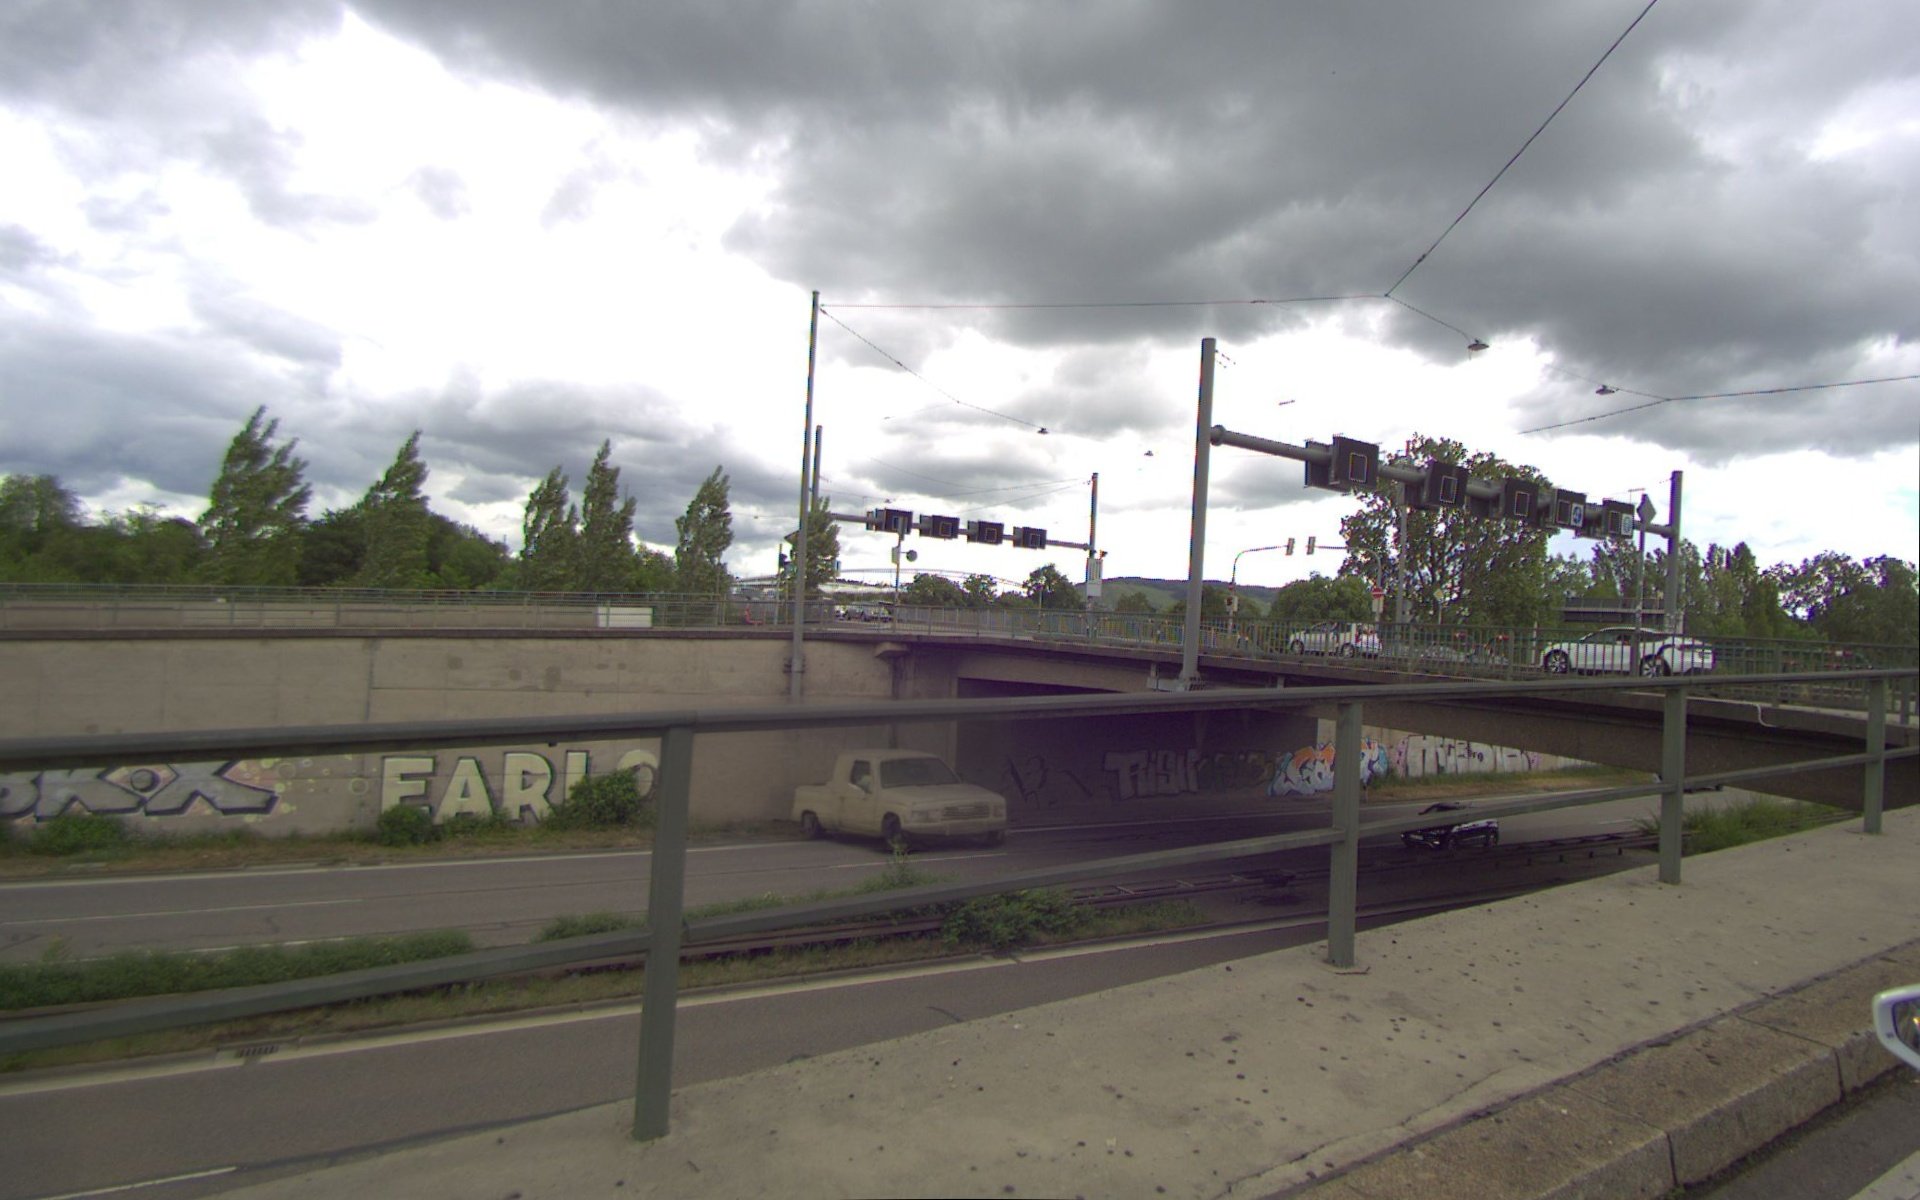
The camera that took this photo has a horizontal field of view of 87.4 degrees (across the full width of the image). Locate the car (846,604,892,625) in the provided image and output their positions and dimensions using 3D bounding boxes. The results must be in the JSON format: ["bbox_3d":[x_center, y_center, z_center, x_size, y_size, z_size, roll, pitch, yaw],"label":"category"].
[{"bbox_3d":[-6.039,0.947,66.364,1.537,1.372,3.860,1,-1,-31],"label":"car"}]

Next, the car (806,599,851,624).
[{"bbox_3d":[-8.583,0.744,65.145,1.560,1.587,3.715,1,0,-31],"label":"car"}]

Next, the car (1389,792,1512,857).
[{"bbox_3d":[17.992,8.154,36.795,4.374,1.865,1.984,5,-4,-30],"label":"car"}]

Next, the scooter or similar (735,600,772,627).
[{"bbox_3d":[-8.902,0.589,43.297,1.402,1.108,0.539,3,-2,-34],"label":"scooter or similar"}]

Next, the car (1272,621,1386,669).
[{"bbox_3d":[14.685,1.741,40.150,1.917,1.740,3.963,1,0,-33],"label":"car"}]

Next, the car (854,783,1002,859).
[{"bbox_3d":[-1.022,7.069,32.492,4.360,1.865,1.921,4,-2,-30],"label":"car"}]

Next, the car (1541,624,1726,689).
[{"bbox_3d":[20.575,1.664,30.904,1.912,1.740,4.376,1,0,-26],"label":"car"}]

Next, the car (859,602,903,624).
[{"bbox_3d":[-6.207,1.003,78.537,1.915,1.740,3.966,1,0,-31],"label":"car"}]

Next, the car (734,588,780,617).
[{"bbox_3d":[-15.024,0.179,74.100,1.711,2.040,4.443,1,0,-35],"label":"car"}]
